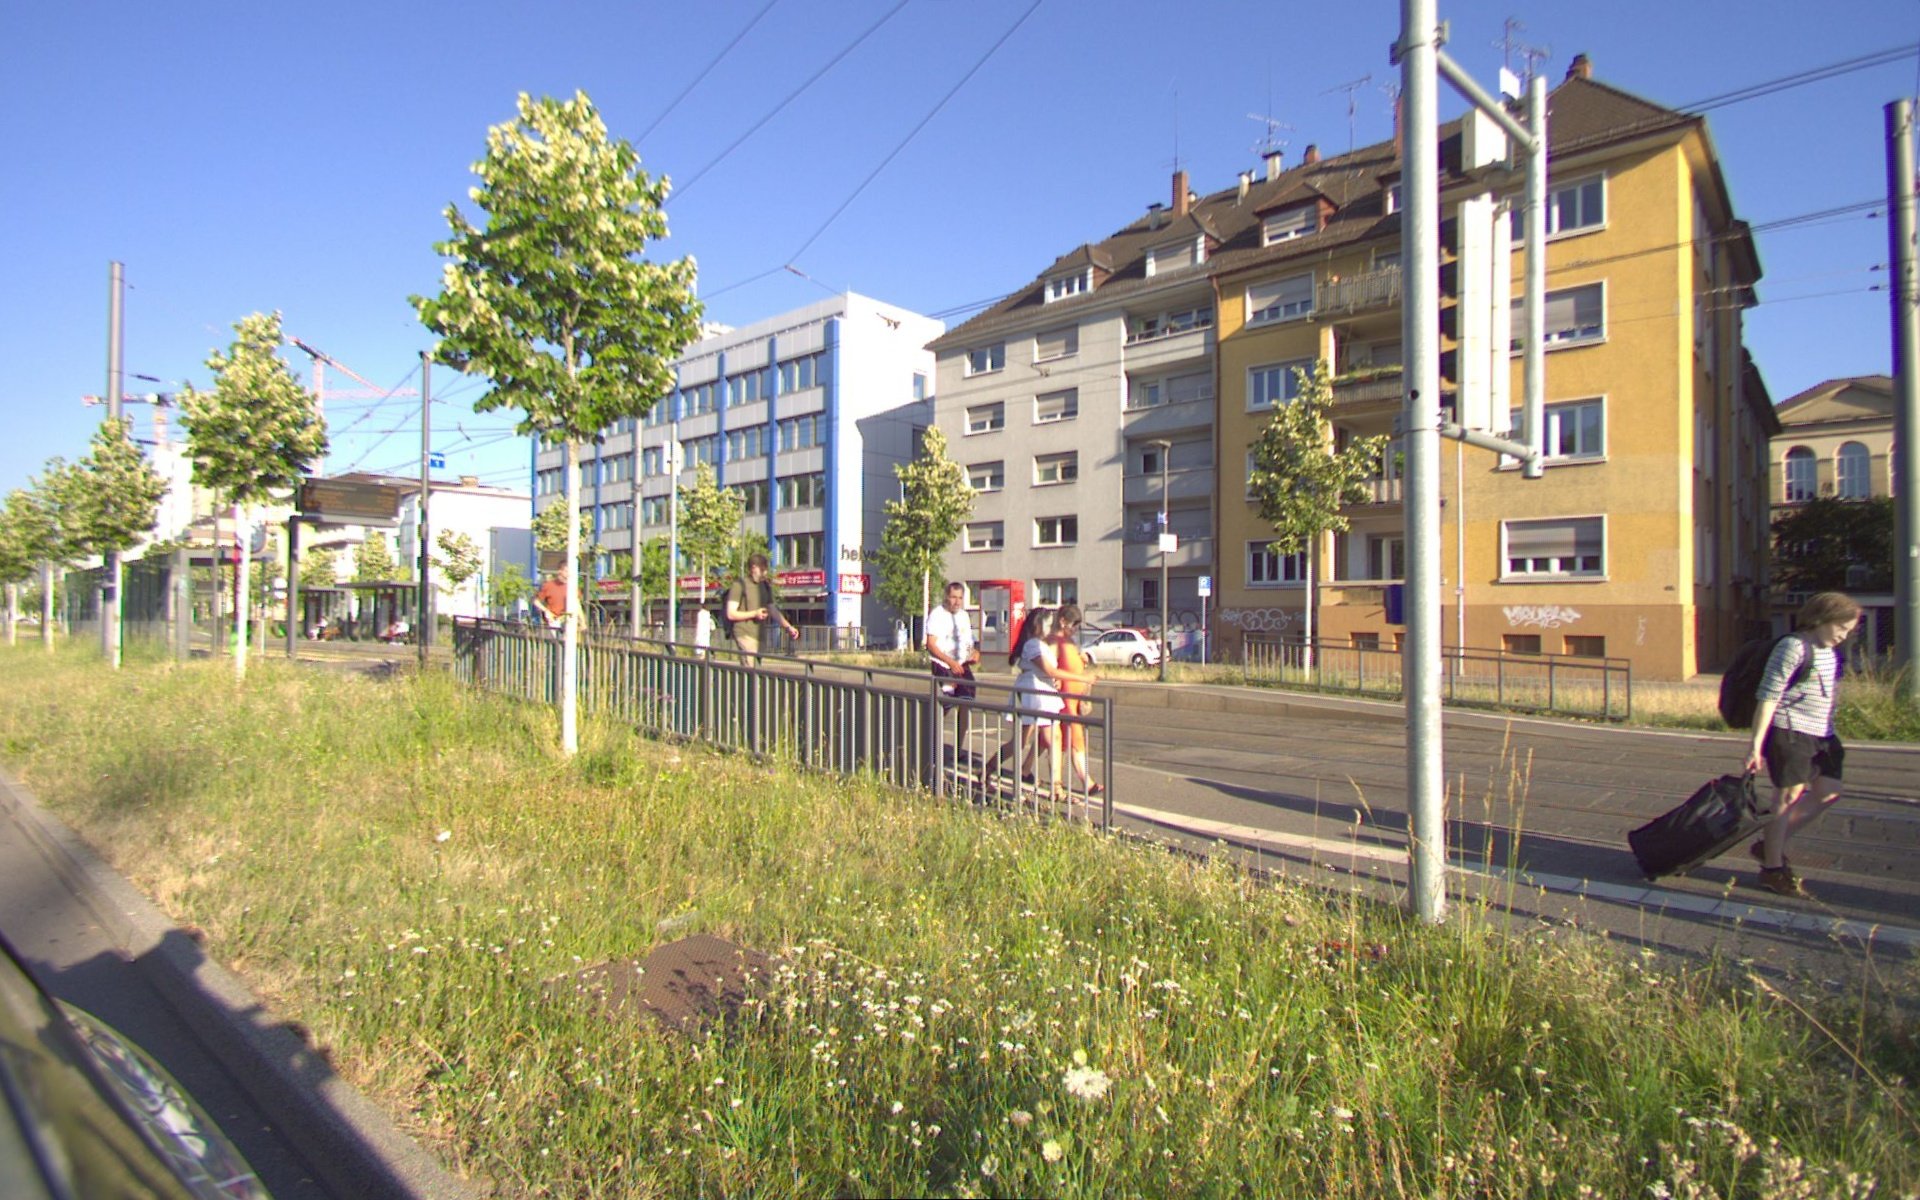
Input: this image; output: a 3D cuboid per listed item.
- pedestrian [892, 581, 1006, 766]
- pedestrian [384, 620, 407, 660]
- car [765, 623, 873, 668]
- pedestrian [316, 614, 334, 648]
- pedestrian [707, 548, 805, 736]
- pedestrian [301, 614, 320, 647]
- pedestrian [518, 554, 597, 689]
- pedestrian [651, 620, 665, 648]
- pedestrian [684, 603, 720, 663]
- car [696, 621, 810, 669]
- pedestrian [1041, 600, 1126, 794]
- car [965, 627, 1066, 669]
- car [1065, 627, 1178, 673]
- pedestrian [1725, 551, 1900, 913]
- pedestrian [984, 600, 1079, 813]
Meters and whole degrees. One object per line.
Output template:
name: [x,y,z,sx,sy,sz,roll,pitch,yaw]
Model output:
pedestrian: [-0.097,0.623,9.149,0.619,1.560,0.777,4,3,42]
pedestrian: [-24.594,1.737,44.100,0.771,1.705,0.651,-1,0,39]
car: [-5.284,1.643,37.670,3.941,1.519,1.861,-1,0,41]
pedestrian: [-31.904,1.555,50.842,0.650,1.705,0.773,-1,0,-43]
pedestrian: [-2.147,0.420,10.657,0.620,1.878,0.776,-1,0,44]
pedestrian: [-33.618,1.578,52.384,0.772,1.705,0.651,-1,0,44]
pedestrian: [-5.291,0.274,13.306,0.620,1.711,0.776,-1,0,44]
pedestrian: [-18.985,2.131,63.602,0.636,1.759,0.599,-1,0,-42]
pedestrian: [-7.374,0.925,28.980,0.620,1.685,0.776,-1,0,44]
car: [-7.229,1.520,35.144,3.941,1.519,1.861,-1,0,41]
pedestrian: [0.975,0.722,7.906,0.521,1.442,0.634,-1,0,19]
car: [2.213,1.861,40.496,3.672,1.519,1.861,-1,0,41]
car: [5.933,1.813,37.365,3.672,1.519,1.861,-1,0,41]
pedestrian: [4.288,0.607,5.130,0.619,1.653,0.778,-1,-1,39]
pedestrian: [0.530,0.737,7.377,0.521,1.467,0.634,-1,0,20]
